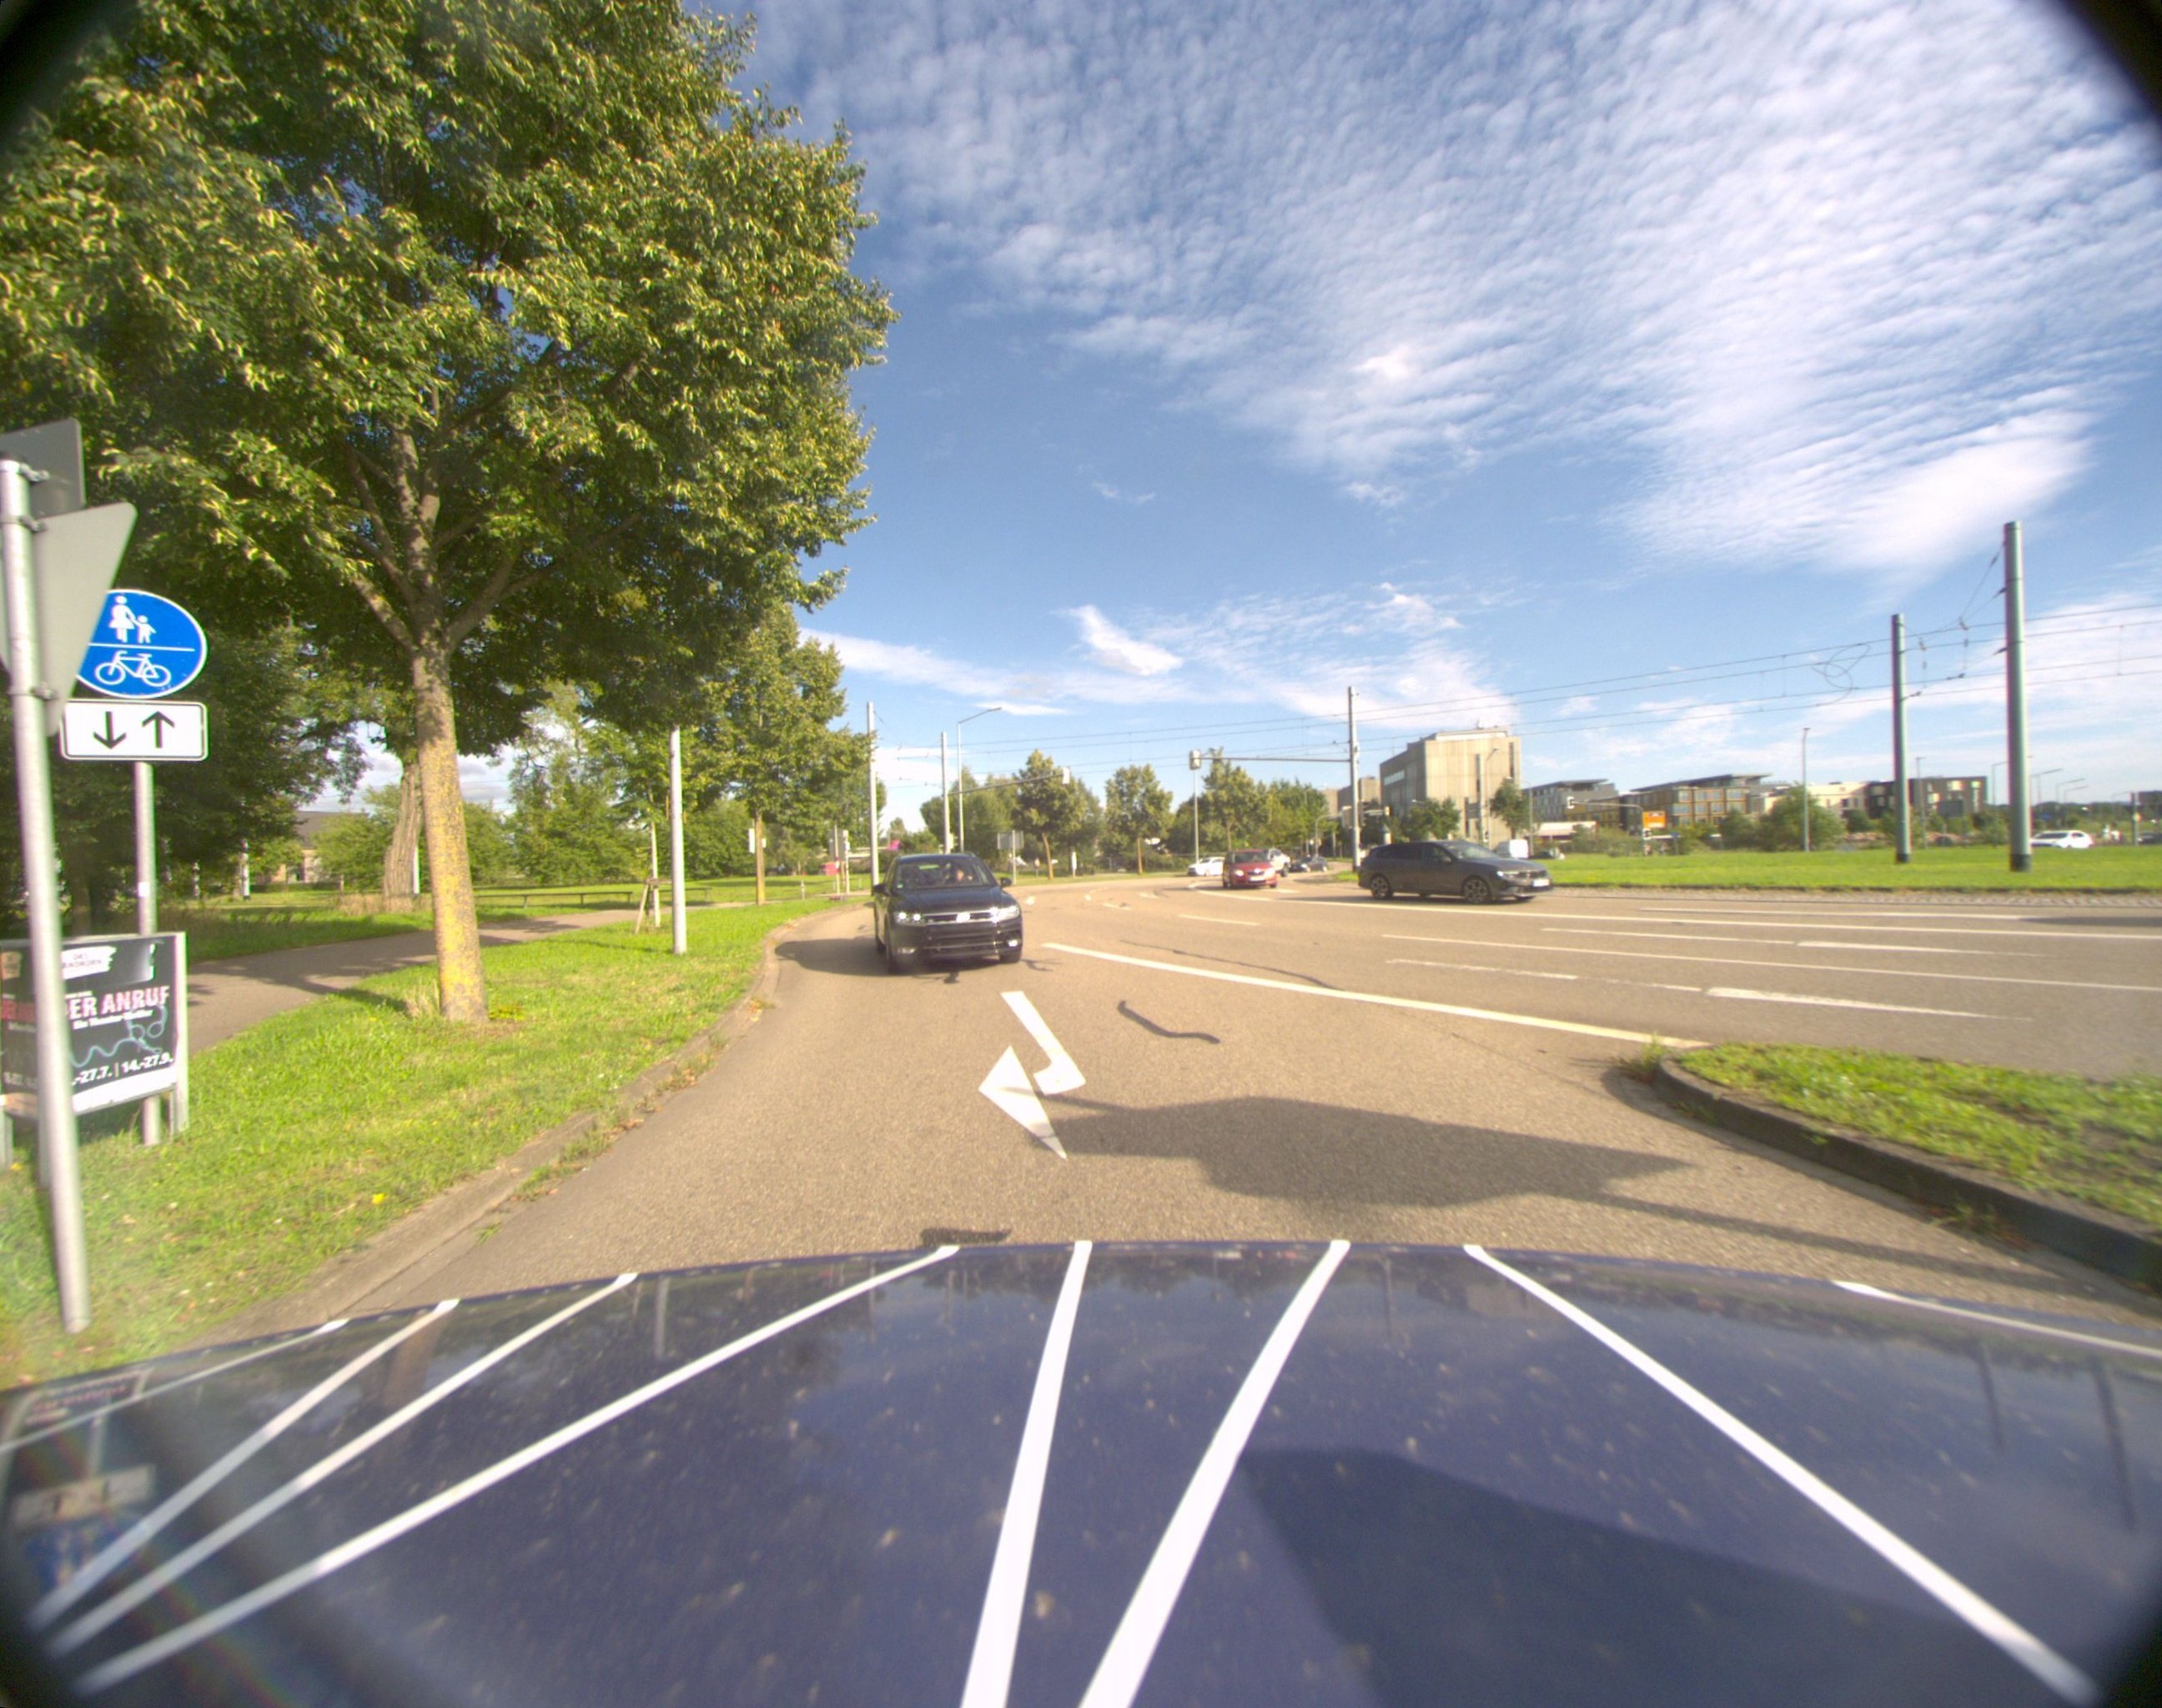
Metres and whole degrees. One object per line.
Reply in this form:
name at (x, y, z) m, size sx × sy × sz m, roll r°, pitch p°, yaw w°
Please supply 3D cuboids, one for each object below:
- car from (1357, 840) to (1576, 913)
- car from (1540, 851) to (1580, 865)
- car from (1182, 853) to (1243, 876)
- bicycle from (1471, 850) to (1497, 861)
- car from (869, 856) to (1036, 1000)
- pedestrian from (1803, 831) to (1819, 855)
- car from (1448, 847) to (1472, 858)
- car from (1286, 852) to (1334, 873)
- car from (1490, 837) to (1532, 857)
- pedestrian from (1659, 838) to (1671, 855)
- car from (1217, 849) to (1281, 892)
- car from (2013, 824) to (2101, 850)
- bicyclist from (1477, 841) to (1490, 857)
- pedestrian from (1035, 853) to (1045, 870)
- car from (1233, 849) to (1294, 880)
car at (8.878, 0.494, 17.972) m, size 1.826 × 1.412 × 4.439 m, roll -3°, pitch 0°, yaw -23°
car at (46.492, 0.397, 73.797) m, size 1.684 × 1.258 × 3.996 m, roll 0°, pitch 0°, yaw 5°
car at (10.236, 0.810, 59.074) m, size 4.812 × 1.652 × 1.995 m, roll -2°, pitch 0°, yaw -39°
bicycle at (39.316, 0.181, 74.143) m, size 1.958 × 1.001 × 1.003 m, roll -2°, pitch 0°, yaw 13°
car at (-2.239, 0.915, 11.890) m, size 1.874 × 1.685 × 5.007 m, roll -2°, pitch 0°, yaw -17°
pedestrian at (62.190, -0.950, 64.713) m, size 0.894 × 1.905 × 0.868 m, roll -4°, pitch 0°, yaw 44°
car at (53.144, -0.216, 106.577) m, size 1.683 × 1.492 × 3.996 m, roll 0°, pitch 0°, yaw 7°
car at (20.141, 0.724, 66.796) m, size 1.994 × 1.652 × 4.813 m, roll -2°, pitch 0°, yaw 44°
car at (50.663, -0.789, 89.709) m, size 2.063 × 2.250 × 6.026 m, roll 0°, pitch 0°, yaw 5°
pedestrian at (57.427, -0.708, 74.662) m, size 0.628 × 1.620 × 0.658 m, roll -3°, pitch 0°, yaw 11°
car at (6.339, 0.583, 29.033) m, size 1.693 × 1.466 × 4.228 m, roll -2°, pitch 0°, yaw 3°
car at (64.047, -1.104, 49.879) m, size 4.425 × 1.566 × 1.892 m, roll -2°, pitch 0°, yaw -14°
bicyclist at (39.295, -0.459, 74.122) m, size 0.864 × 1.546 × 0.998 m, roll -2°, pitch 0°, yaw 13°
pedestrian at (-4.249, 0.795, 78.678) m, size 0.595 × 1.722 × 0.669 m, roll -1°, pitch 1°, yaw 36°
car at (9.740, 0.519, 40.364) m, size 1.690 × 1.466 × 4.235 m, roll -1°, pitch 1°, yaw 34°
